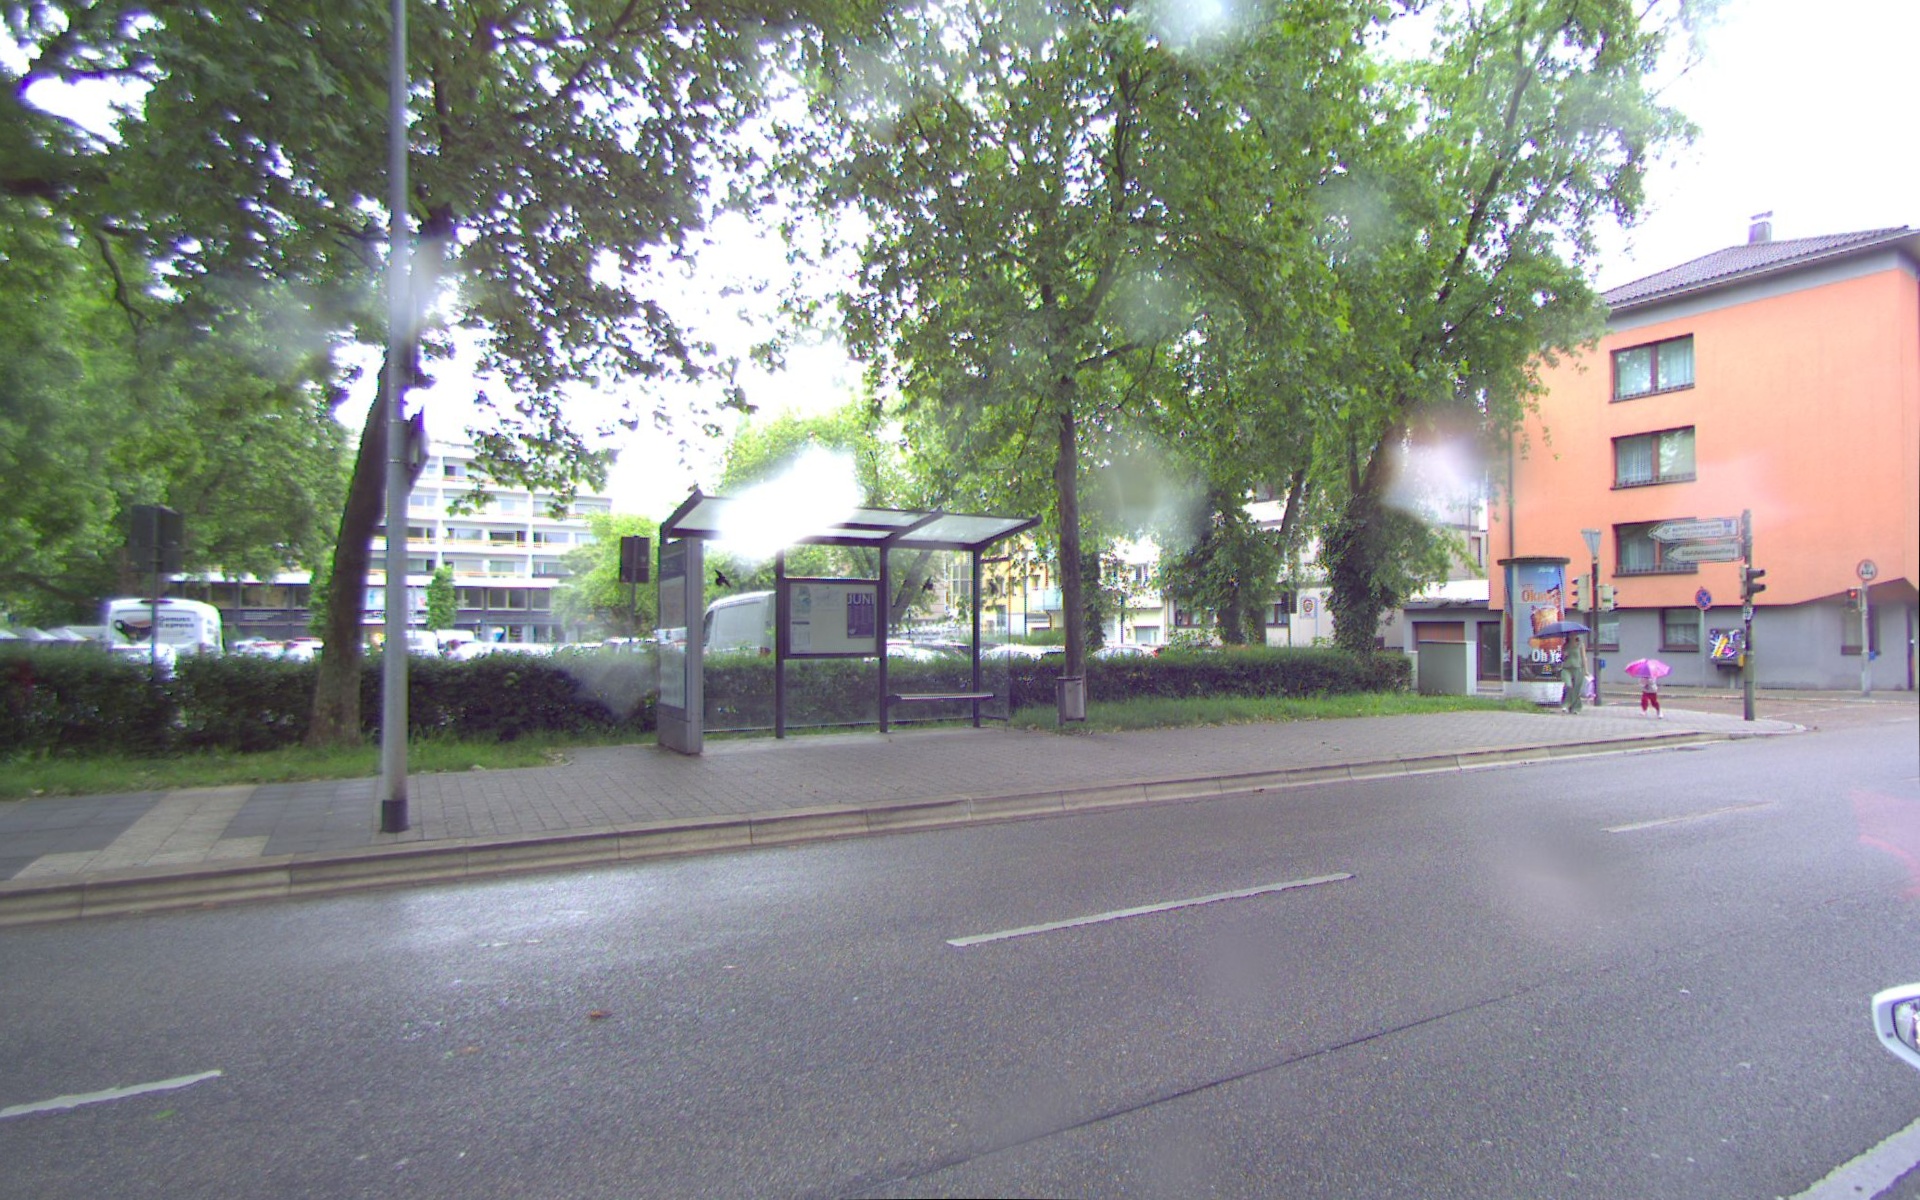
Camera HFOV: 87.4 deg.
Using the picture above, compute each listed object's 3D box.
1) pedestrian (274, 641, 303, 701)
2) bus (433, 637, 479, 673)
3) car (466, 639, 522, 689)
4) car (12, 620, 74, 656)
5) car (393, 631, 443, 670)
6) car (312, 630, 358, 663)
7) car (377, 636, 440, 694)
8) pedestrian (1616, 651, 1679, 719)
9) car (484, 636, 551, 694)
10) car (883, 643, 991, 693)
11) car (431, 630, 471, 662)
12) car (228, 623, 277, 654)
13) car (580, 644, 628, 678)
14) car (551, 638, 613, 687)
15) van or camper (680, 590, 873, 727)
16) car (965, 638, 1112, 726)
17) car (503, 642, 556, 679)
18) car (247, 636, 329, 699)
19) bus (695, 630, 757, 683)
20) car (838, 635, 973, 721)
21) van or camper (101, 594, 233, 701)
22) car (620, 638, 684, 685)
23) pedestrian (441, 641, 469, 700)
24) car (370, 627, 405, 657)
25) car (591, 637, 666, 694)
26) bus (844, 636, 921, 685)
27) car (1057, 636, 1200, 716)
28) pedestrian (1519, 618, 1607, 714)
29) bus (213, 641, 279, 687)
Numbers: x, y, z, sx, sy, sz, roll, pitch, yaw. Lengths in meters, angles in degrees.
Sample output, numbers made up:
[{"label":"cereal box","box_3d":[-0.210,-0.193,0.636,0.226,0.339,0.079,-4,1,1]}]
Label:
[{"label":"pedestrian","box_3d":[-14.058,1.473,21.022,0.462,1.229,0.434,2,0,-37]},{"label":"bus","box_3d":[-22.371,2.420,44.575,1.587,1.559,3.403,2,-3,-30]},{"label":"car","box_3d":[-14.541,1.957,31.277,1.375,1.454,3.248,1,-3,-29]},{"label":"car","box_3d":[-40.814,1.684,44.764,1.412,1.447,2.941,1,0,-30]},{"label":"car","box_3d":[-20.900,1.939,38.685,1.587,1.447,3.293,2,-3,-30]},{"label":"car","box_3d":[-31.421,2.303,50.581,1.818,1.444,3.799,2,0,-31]},{"label":"car","box_3d":[-14.732,1.711,26.849,1.375,1.454,3.248,1,-3,-29]},{"label":"pedestrian","box_3d":[12.790,1.568,18.684,0.817,1.190,0.681,1,0,-30]},{"label":"car","box_3d":[-11.954,1.712,27.058,1.375,1.454,3.248,1,-3,-29]},{"label":"car","box_3d":[-0.832,2.221,33.516,1.799,1.536,3.965,2,-3,-33]},{"label":"car","box_3d":[-27.345,2.442,53.920,1.622,1.544,3.174,2,0,-32]},{"label":"car","box_3d":[-33.700,1.848,47.914,1.587,1.447,3.293,2,-3,-30]},{"label":"car","box_3d":[-15.197,2.572,42.827,1.332,1.401,3.141,2,-3,-30]},{"label":"car","box_3d":[-11.957,1.950,31.678,1.375,1.454,3.248,1,-3,-29]},{"label":"van or camper","box_3d":[-3.525,1.052,18.628,2.026,2.198,4.458,2,-3,-32]},{"label":"car","box_3d":[1.585,1.657,21.169,1.492,1.544,3.174,2,0,-32]},{"label":"car","box_3d":[-17.696,2.447,41.235,1.587,1.447,3.293,2,-3,-30]},{"label":"car","box_3d":[-16.510,1.630,24.788,1.375,1.454,3.248,1,-3,-29]},{"label":"bus","box_3d":[-7.829,1.860,33.521,1.363,1.698,2.779,1,-3,-28]},{"label":"car","box_3d":[-1.210,1.572,21.185,1.492,1.544,3.174,2,0,-32]},{"label":"van or camper","box_3d":[-20.697,1.243,26.418,2.074,2.570,4.391,1,-3,-30]},{"label":"car","box_3d":[-9.992,1.964,32.472,1.375,1.454,3.248,1,-3,-29]},{"label":"pedestrian","box_3d":[-10.877,1.505,21.629,0.462,1.229,0.434,2,0,-37]},{"label":"car","box_3d":[-33.043,2.389,57.912,1.622,1.544,3.174,1,1,-32]},{"label":"car","box_3d":[-9.111,1.755,27.502,1.375,1.454,3.248,1,-3,-29]},{"label":"bus","box_3d":[-2.462,1.881,31.547,1.364,1.451,2.777,2,-3,-30]},{"label":"car","box_3d":[3.806,1.682,23.039,1.492,1.544,3.174,2,0,-32]},{"label":"pedestrian","box_3d":[11.662,1.241,19.437,1.195,1.765,0.987,1,0,-30]},{"label":"bus","box_3d":[-25.548,2.264,36.013,1.587,1.559,3.403,2,-3,-30]}]
